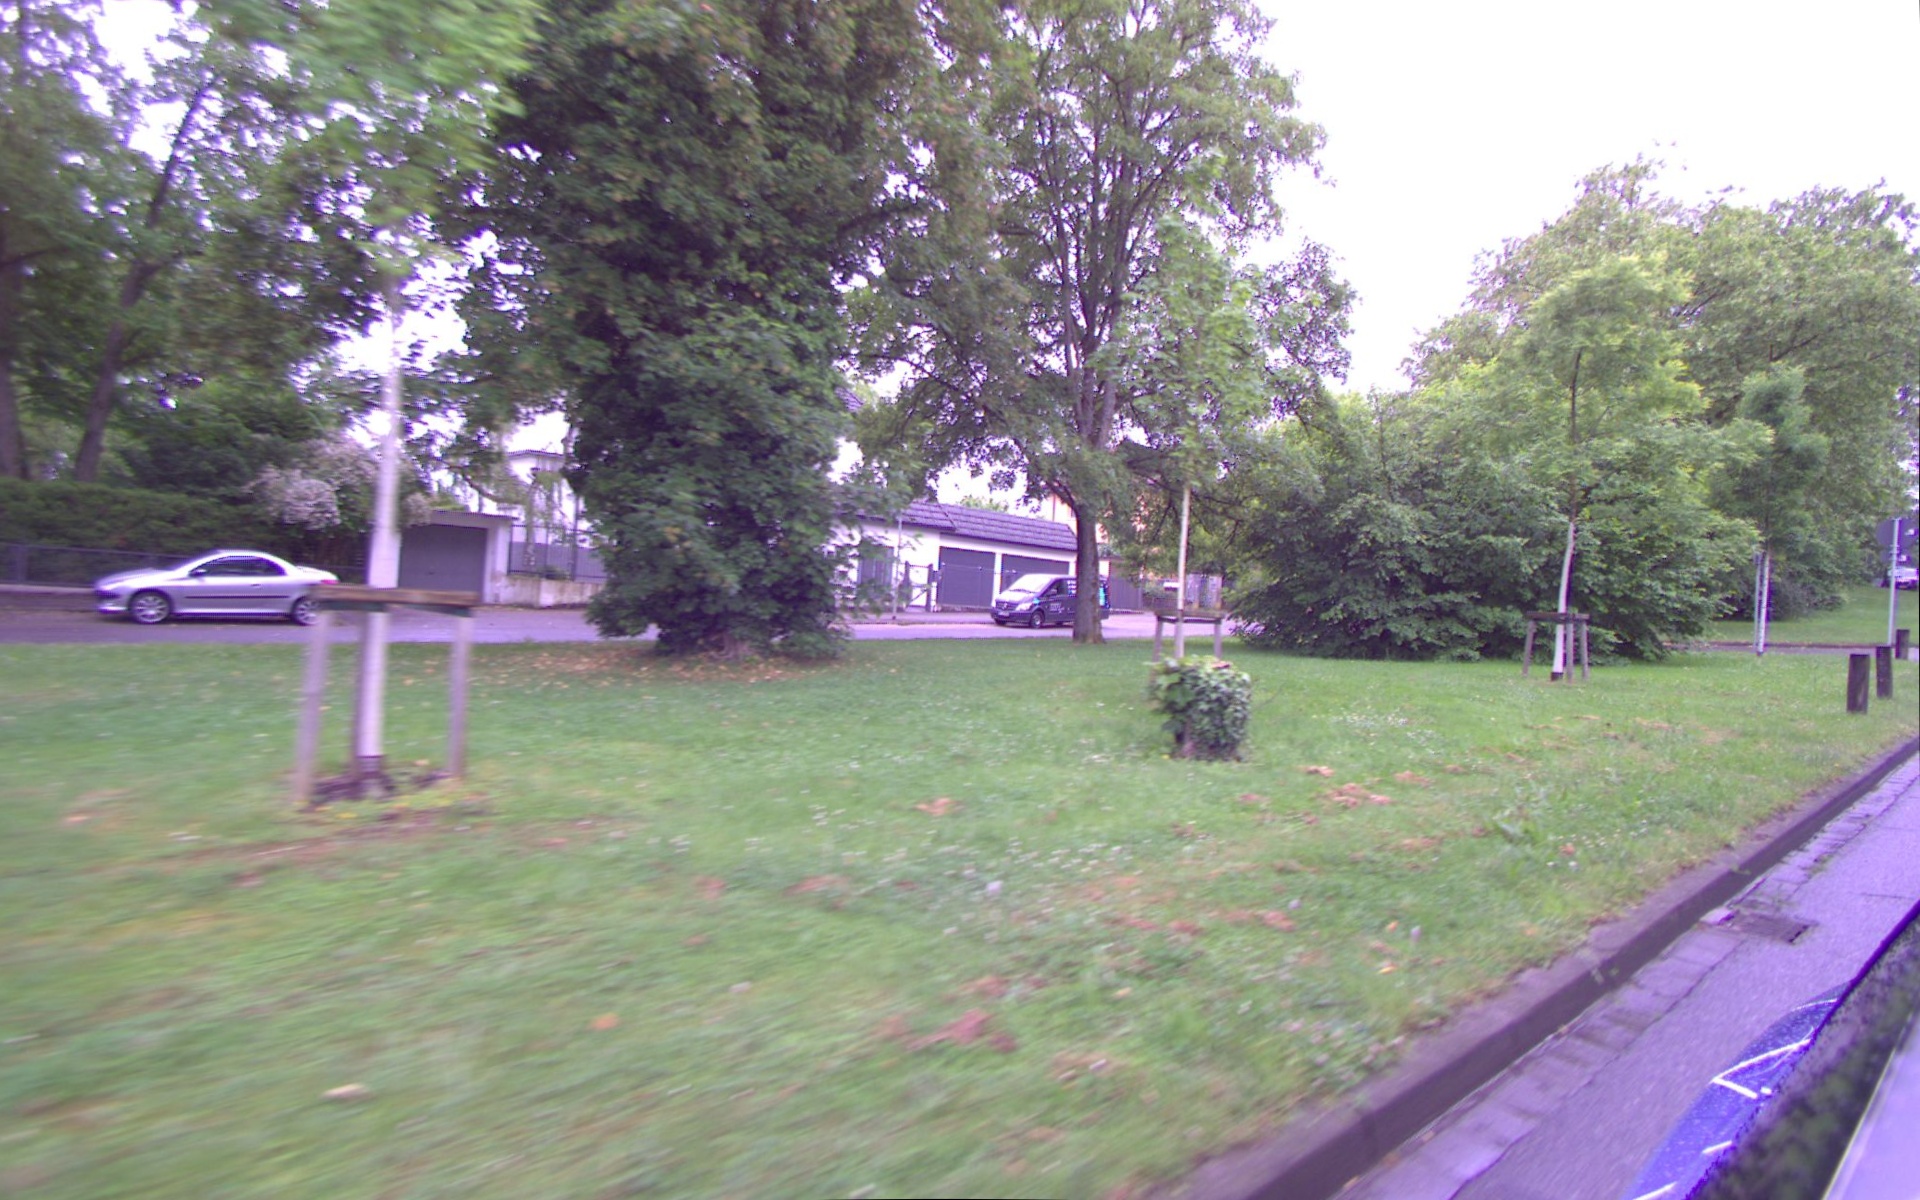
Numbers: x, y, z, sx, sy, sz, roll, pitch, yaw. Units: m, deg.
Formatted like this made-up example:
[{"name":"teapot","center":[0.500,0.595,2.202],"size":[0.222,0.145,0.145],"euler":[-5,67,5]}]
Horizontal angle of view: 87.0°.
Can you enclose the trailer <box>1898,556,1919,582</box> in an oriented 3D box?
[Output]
[{"name":"trailer","center":[77.970,-2.575,82.746],"size":[1.696,2.079,3.892],"euler":[3,3,42]}]

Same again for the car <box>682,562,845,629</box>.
[{"name":"car","center":[-5.315,-0.143,27.713],"size":[3.968,1.644,1.904],"euler":[0,3,-44]}]

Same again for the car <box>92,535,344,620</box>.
[{"name":"car","center":[-13.926,-0.403,19.101],"size":[3.647,1.392,1.684],"euler":[1,4,-44]}]

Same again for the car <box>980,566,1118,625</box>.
[{"name":"car","center":[3.249,-0.175,36.193],"size":[4.986,1.902,2.162],"euler":[0,3,-44]}]

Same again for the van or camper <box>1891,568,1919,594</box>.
[{"name":"van or camper","center":[74.473,-1.533,79.349],"size":[1.993,1.891,5.580],"euler":[4,4,42]}]
